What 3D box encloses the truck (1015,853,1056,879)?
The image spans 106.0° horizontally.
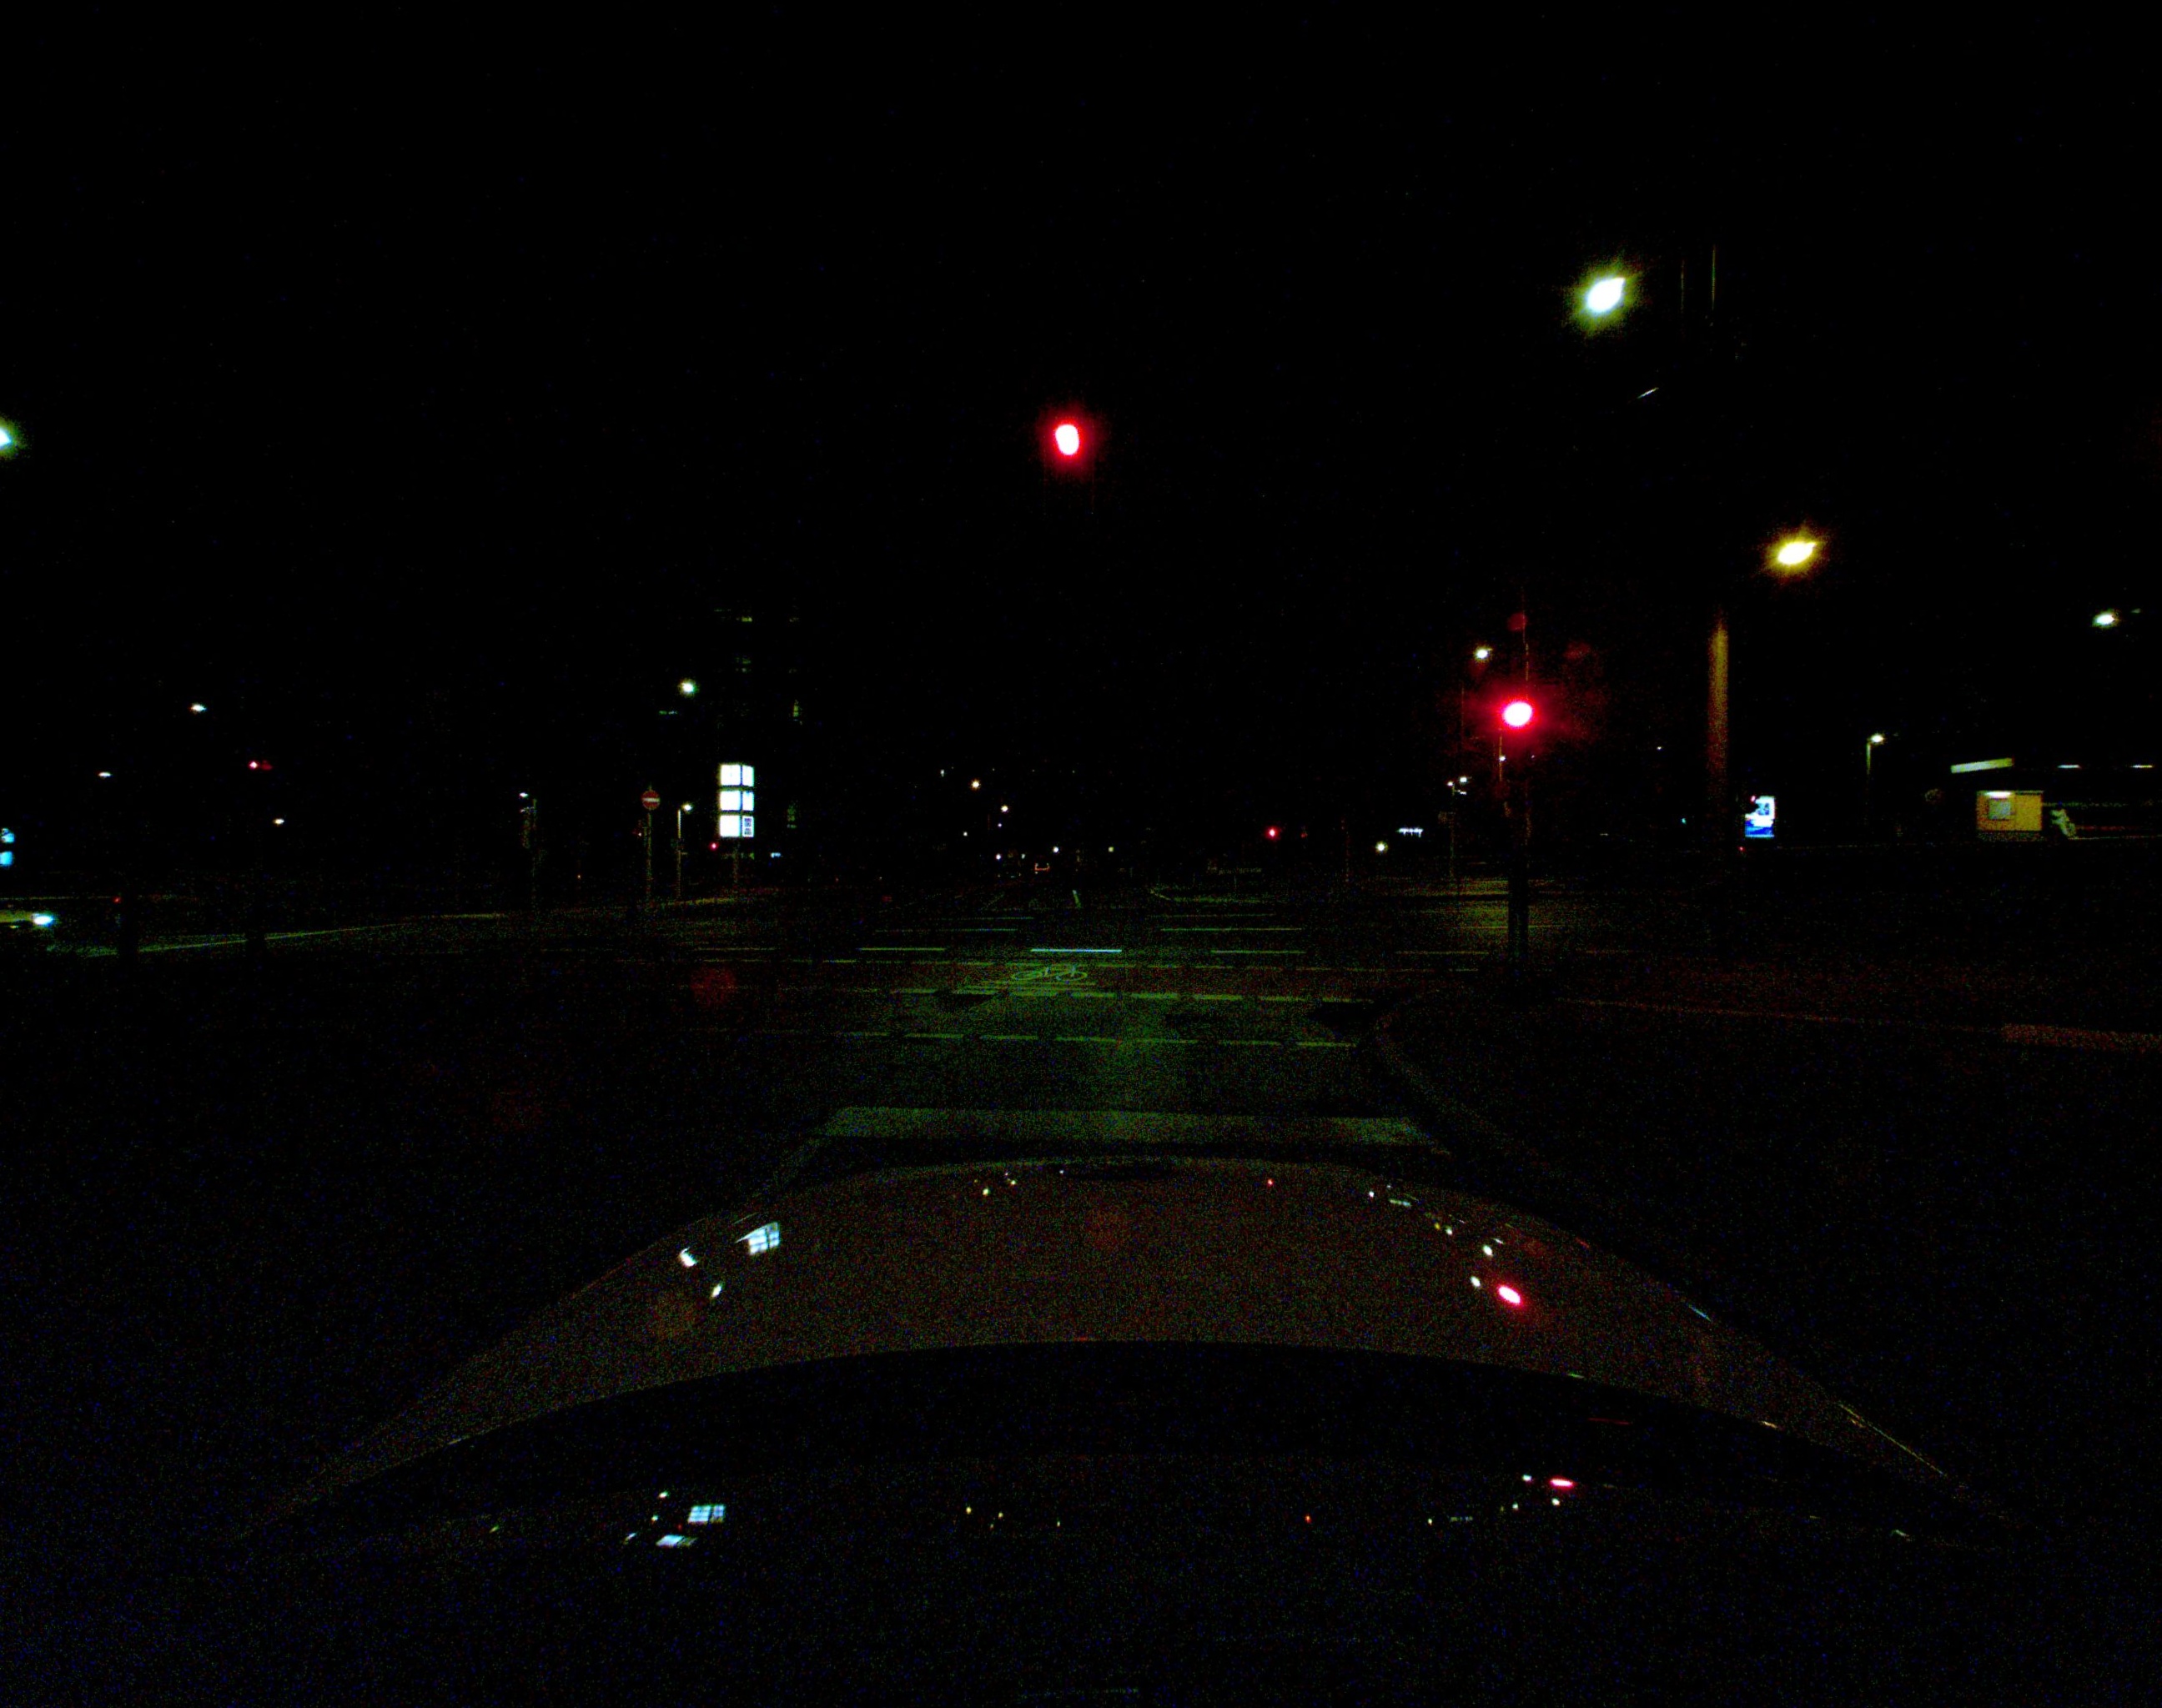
[{"bbox_3d":[-8.556,2.233,151.650,4.835,4.547,12.591,0,-1,-17],"label":"truck"}]

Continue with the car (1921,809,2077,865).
[{"bbox_3d":[38.584,-0.675,34.316,3.966,2.014,2.003,-4,-1,6],"label":"car"}]

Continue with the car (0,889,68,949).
[{"bbox_3d":[-30.330,1.800,21.966,4.163,1.502,1.823,-2,0,8],"label":"car"}]

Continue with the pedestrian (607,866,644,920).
[{"bbox_3d":[-14.133,1.182,25.263,0.667,1.634,0.862,0,-1,-3],"label":"pedestrian"}]

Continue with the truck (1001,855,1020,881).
[{"bbox_3d":[-10.394,1.965,119.802,2.580,3.707,5.723,0,-1,-7],"label":"truck"}]

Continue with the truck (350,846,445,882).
[{"bbox_3d":[-59.816,0.881,71.366,5.873,3.088,2.915,0,-1,3],"label":"truck"}]

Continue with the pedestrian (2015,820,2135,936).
[{"bbox_3d":[15.792,0.375,12.964,0.752,1.745,0.834,-4,-2,1],"label":"pedestrian"}]
